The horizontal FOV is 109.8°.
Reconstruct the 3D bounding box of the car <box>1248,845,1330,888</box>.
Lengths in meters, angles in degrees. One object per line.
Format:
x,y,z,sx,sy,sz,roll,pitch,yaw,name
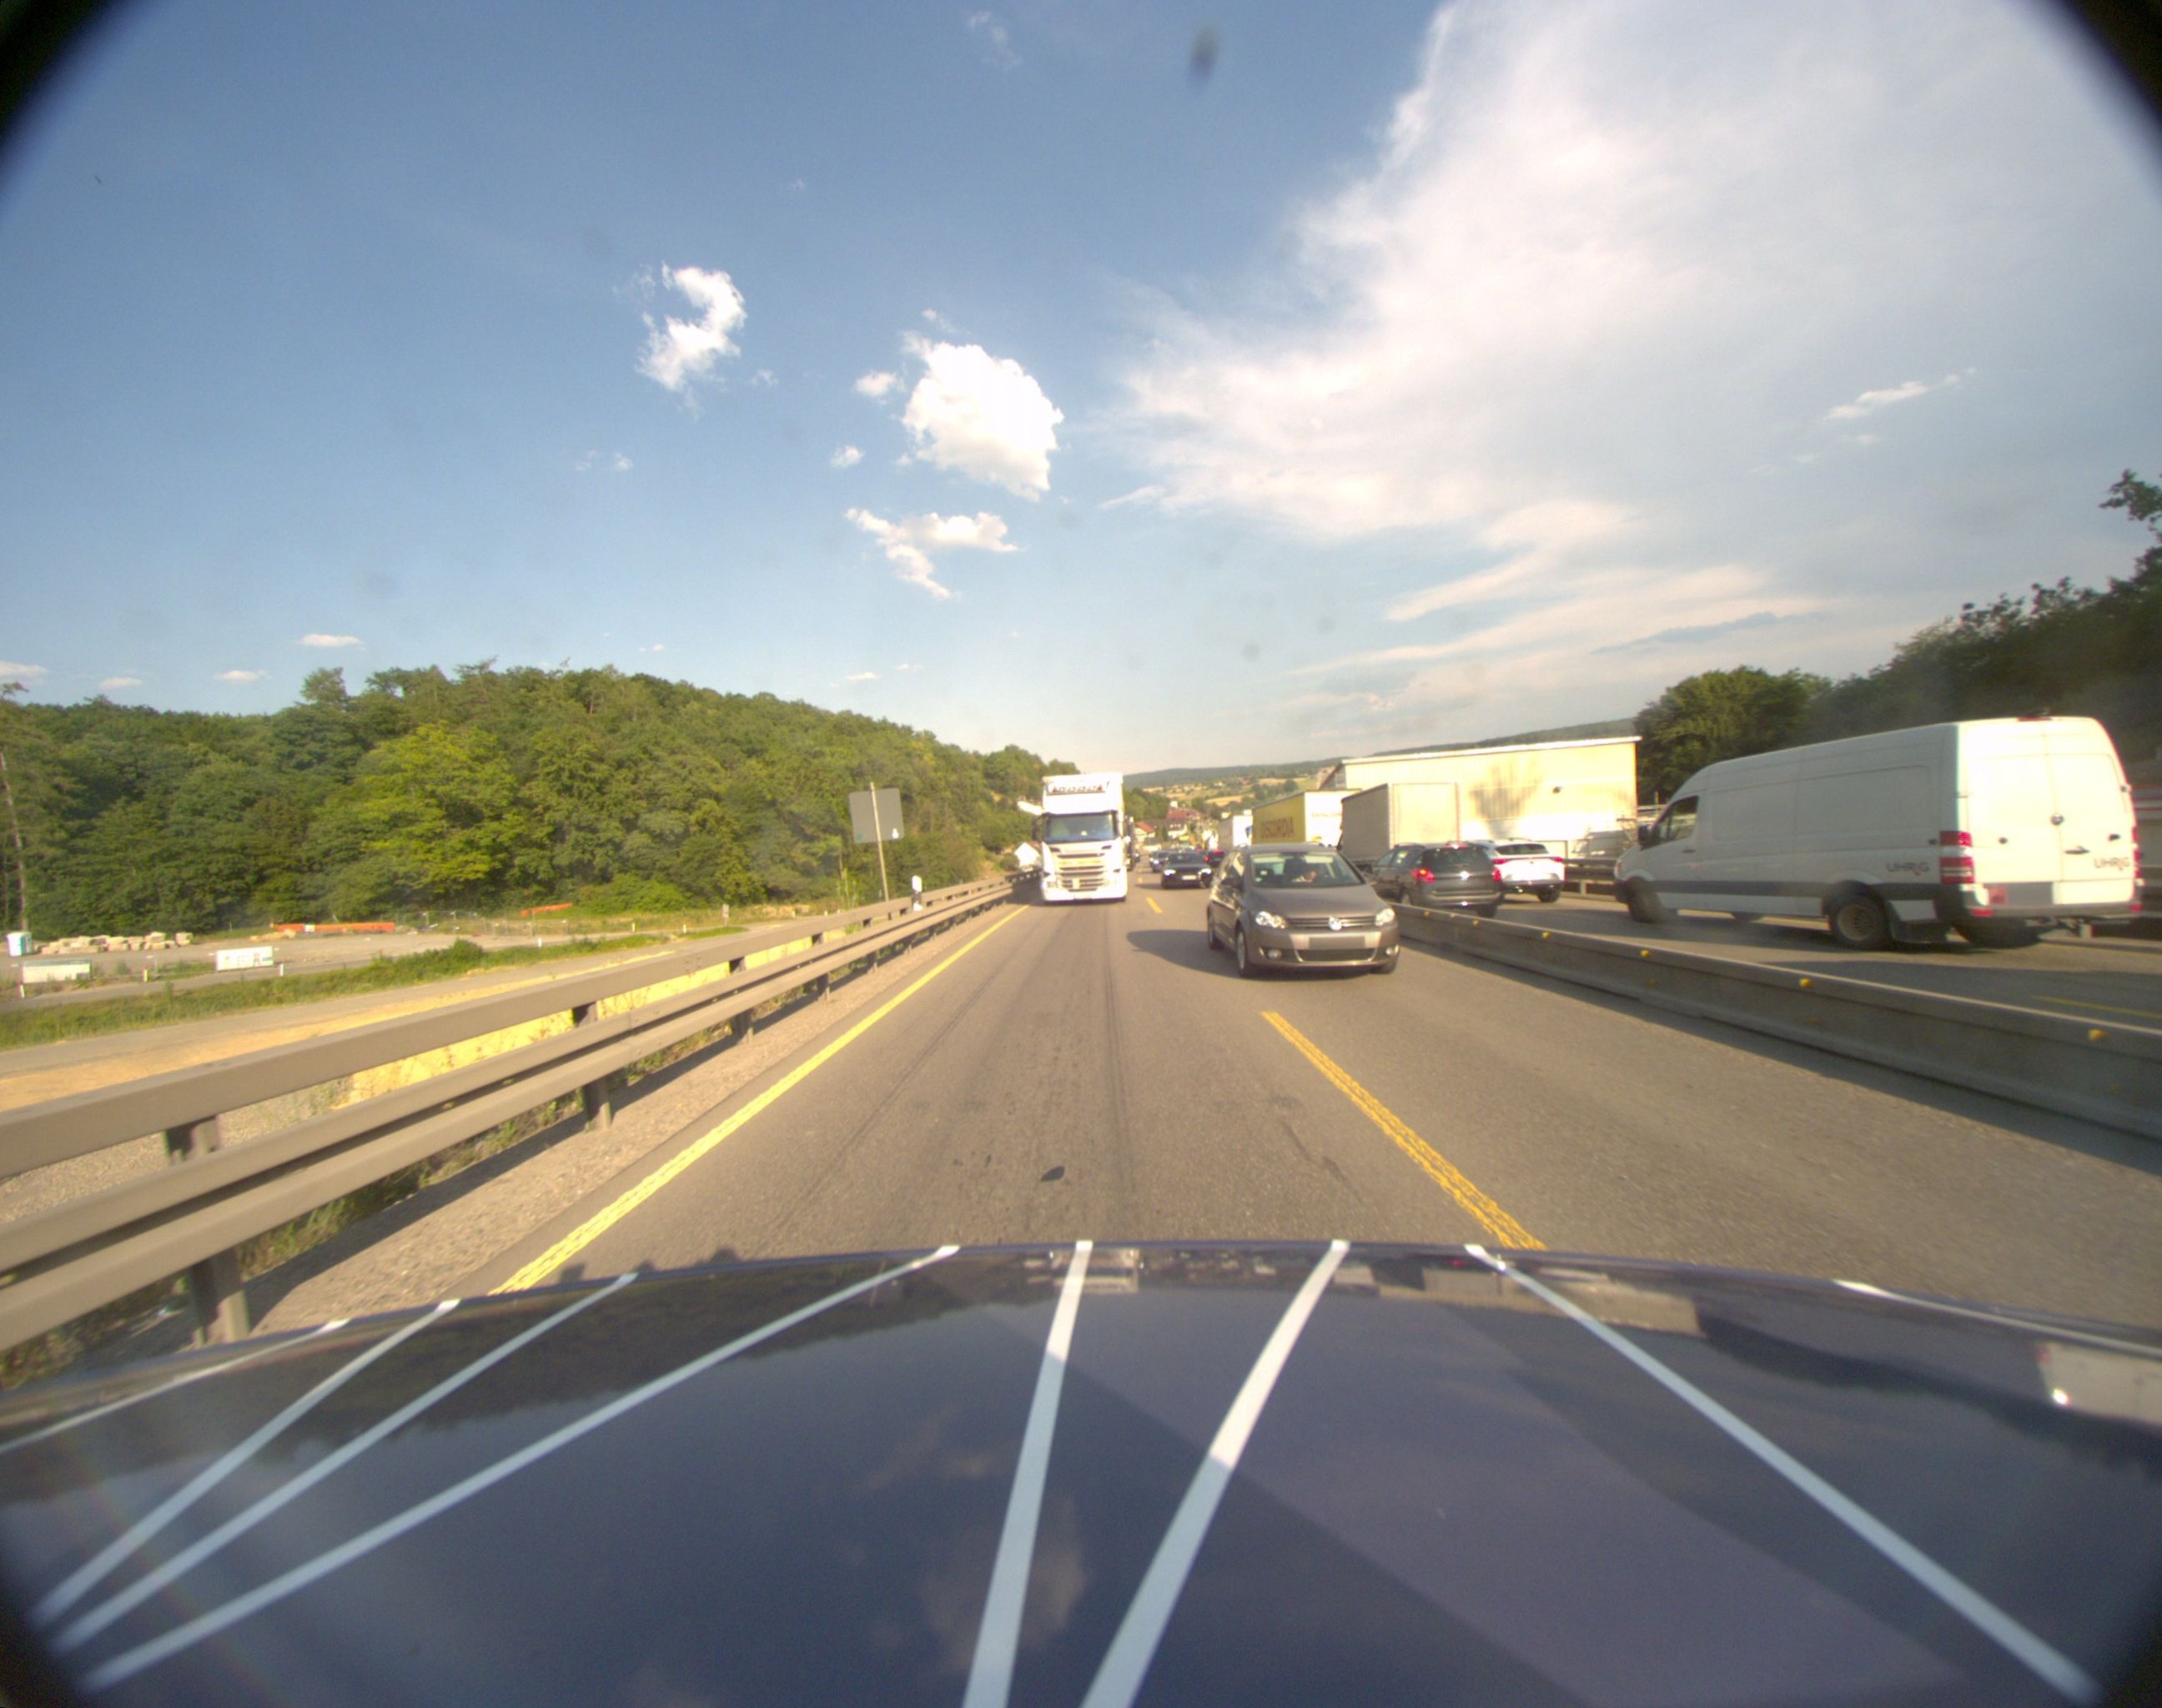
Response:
7.916,0.464,29.413,2.063,1.478,4.728,1,0,3,car

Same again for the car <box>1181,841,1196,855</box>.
15.317,-0.892,108.484,1.866,1.899,4.001,-1,1,6,car

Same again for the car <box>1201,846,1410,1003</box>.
2.656,0.723,9.959,1.687,1.565,4.100,-2,1,3,car

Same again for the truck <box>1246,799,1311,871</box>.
12.071,-1.141,46.936,2.719,4.065,6.101,-1,1,3,truck

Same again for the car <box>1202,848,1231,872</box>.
9.408,0.414,53.035,1.657,1.514,4.288,-2,1,7,car

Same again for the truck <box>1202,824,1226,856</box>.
16.993,-1.753,97.401,2.604,3.865,6.205,-1,1,6,truck

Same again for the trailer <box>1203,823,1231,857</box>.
16.477,-1.683,92.817,2.602,3.858,10.580,-1,1,6,trailer

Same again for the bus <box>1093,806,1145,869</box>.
3.252,-1.230,61.058,2.983,4.553,10.909,-2,0,8,bus

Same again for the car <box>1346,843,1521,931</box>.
7.124,0.621,15.846,1.786,1.513,4.001,-3,-1,1,car

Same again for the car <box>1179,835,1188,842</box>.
28.316,-4.253,209.475,1.822,1.988,4.755,0,0,1,car

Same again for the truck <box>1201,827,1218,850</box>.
22.581,-2.746,133.888,2.898,3.689,9.493,-1,1,9,truck

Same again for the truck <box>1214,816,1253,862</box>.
14.131,-1.360,70.640,2.850,4.013,6.102,-1,1,5,truck

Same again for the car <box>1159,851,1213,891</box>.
4.133,0.620,30.366,1.866,1.391,4.000,-1,1,4,car

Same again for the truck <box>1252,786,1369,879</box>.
11.682,-1.043,40.491,2.713,4.064,14.154,-1,1,3,truck

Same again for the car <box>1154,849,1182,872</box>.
5.789,0.405,50.778,1.698,1.390,4.002,-3,0,6,car

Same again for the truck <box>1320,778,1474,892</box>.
10.990,-0.616,27.339,2.453,3.443,7.617,-2,1,1,truck

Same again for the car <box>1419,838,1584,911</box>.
10.087,0.422,18.611,1.768,1.514,4.001,-2,1,-1,car

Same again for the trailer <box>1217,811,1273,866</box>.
13.589,-1.275,64.061,2.863,4.013,13.974,-1,1,5,trailer

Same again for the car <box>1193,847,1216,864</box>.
11.358,0.073,70.095,1.811,1.417,4.675,-2,1,7,car

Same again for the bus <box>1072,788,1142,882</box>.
1.662,-0.940,42.393,2.983,4.553,9.971,-2,0,6,bus

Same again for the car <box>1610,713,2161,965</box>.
10.447,-0.197,10.830,1.961,2.606,5.748,-1,1,2,car

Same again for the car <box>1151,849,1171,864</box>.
7.220,0.236,68.738,1.627,1.239,4.001,-2,1,6,car

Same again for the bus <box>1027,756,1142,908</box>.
0.543,-0.696,26.295,2.634,4.077,11.317,-1,1,7,bus
